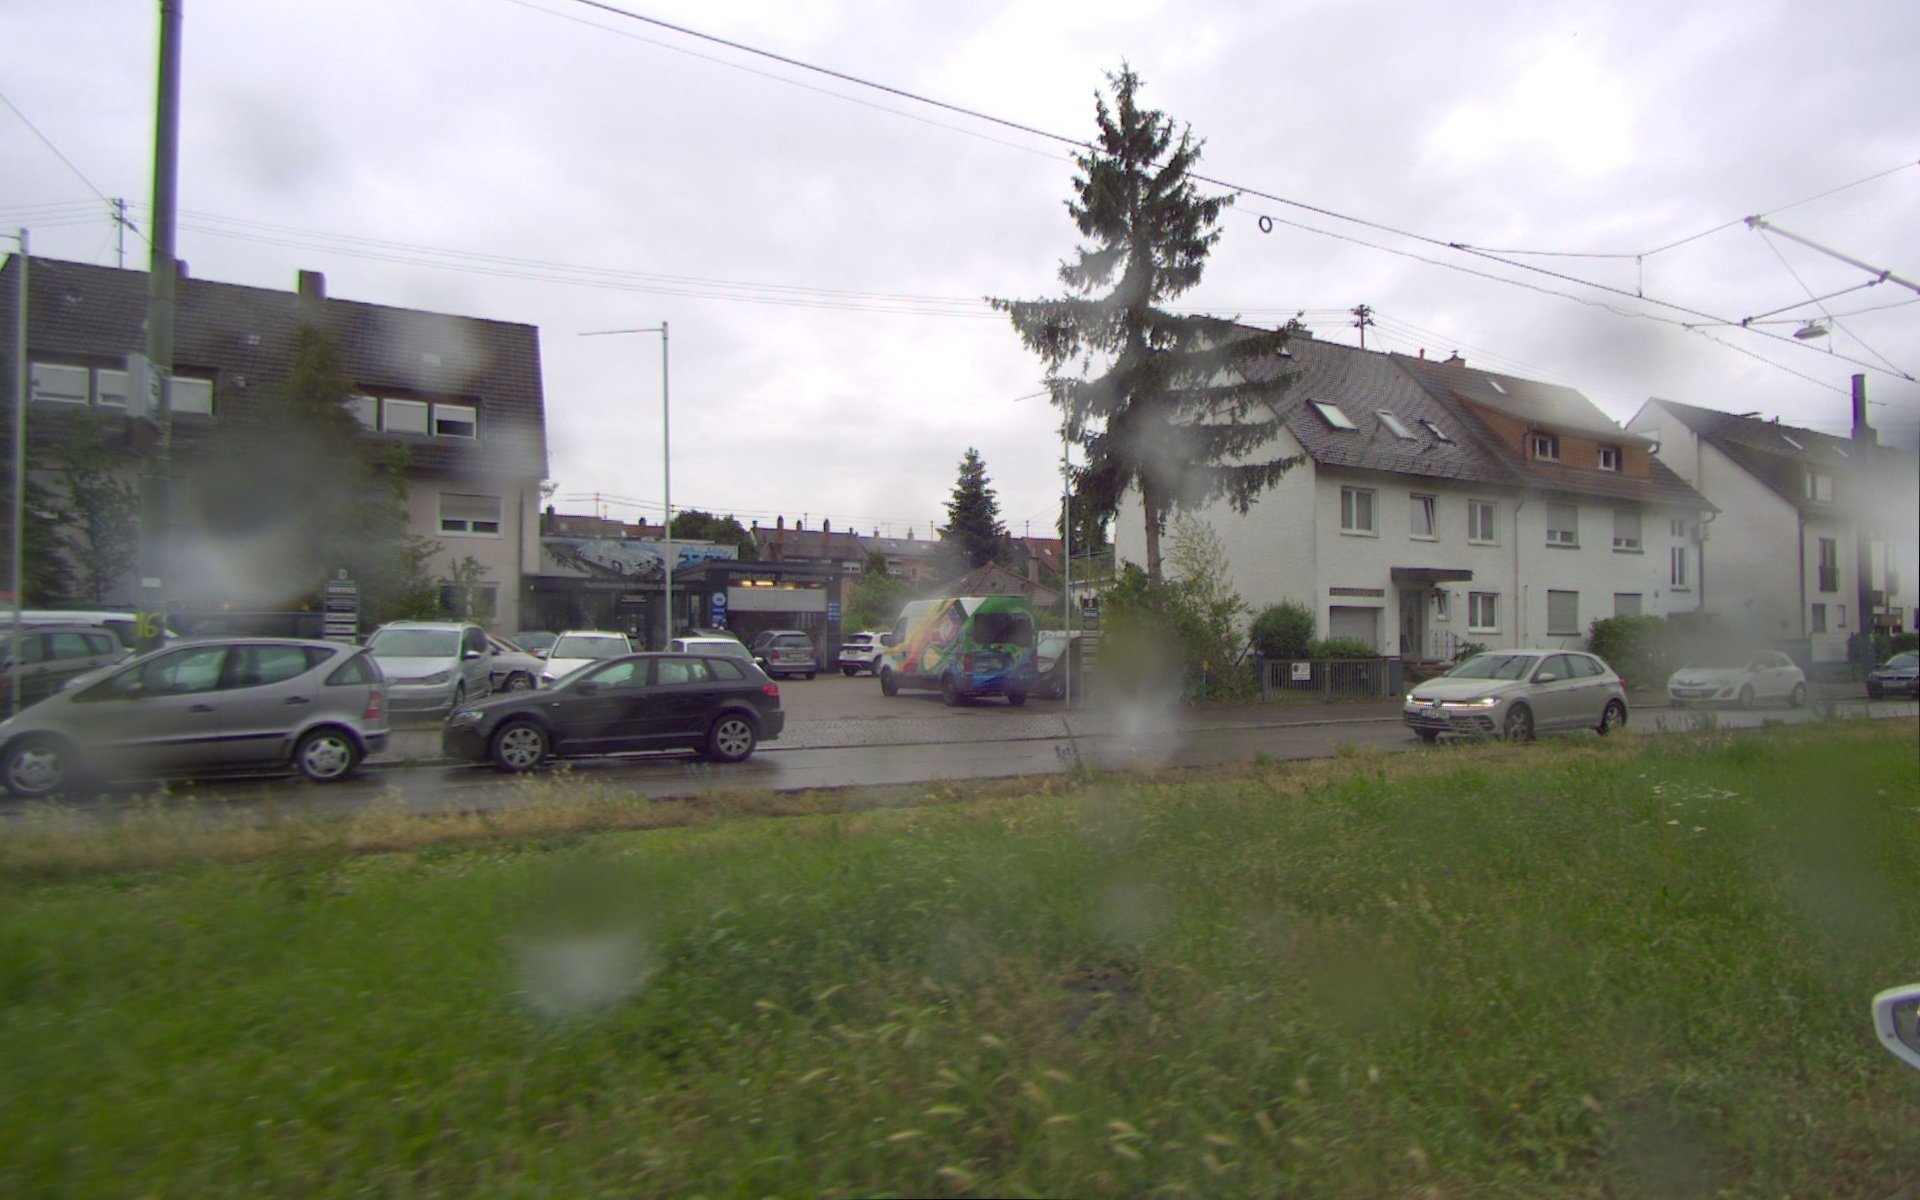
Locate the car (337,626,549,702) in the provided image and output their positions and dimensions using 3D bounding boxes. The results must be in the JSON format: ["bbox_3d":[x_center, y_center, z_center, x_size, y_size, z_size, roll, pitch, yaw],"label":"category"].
[{"bbox_3d":[-12.379,1.521,24.348,4.387,1.709,1.988,1,-3,-25],"label":"car"}]

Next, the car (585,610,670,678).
[{"bbox_3d":[-10.522,1.349,31.639,1.975,1.803,3.582,4,1,-27],"label":"car"}]

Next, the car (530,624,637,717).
[{"bbox_3d":[-7.335,1.319,19.379,1.699,1.593,3.597,3,-3,-23],"label":"car"}]

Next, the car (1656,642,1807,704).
[{"bbox_3d":[19.833,1.882,25.812,3.894,1.442,1.595,4,-3,-27],"label":"car"}]

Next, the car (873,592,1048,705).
[{"bbox_3d":[-0.126,1.187,24.559,2.125,2.437,5.114,3,-3,-27],"label":"car"}]

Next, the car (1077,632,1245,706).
[{"bbox_3d":[5.208,1.729,25.965,3.845,1.586,1.986,-2,0,-28],"label":"car"}]

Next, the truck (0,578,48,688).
[{"bbox_3d":[-23.105,0.698,20.872,5.990,2.301,1.998,0,-3,-8],"label":"truck"}]

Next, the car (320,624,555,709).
[{"bbox_3d":[-11.273,1.427,21.995,4.387,1.709,1.750,1,-3,-25],"label":"car"}]

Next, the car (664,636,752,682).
[{"bbox_3d":[-8.269,1.899,32.756,1.739,1.349,3.969,4,-4,-30],"label":"car"}]

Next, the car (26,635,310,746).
[{"bbox_3d":[-12.529,1.399,16.285,1.801,1.524,4.052,2,-3,-10],"label":"car"}]

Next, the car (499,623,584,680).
[{"bbox_3d":[-12.801,1.551,30.604,1.976,1.585,3.866,3,-3,-29],"label":"car"}]

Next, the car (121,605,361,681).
[{"bbox_3d":[-17.291,1.050,24.471,4.387,1.709,1.988,1,-3,-25],"label":"car"}]

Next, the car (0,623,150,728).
[{"bbox_3d":[-14.878,1.107,15.206,1.797,1.524,4.060,2,-3,1],"label":"car"}]

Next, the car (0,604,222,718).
[{"bbox_3d":[-17.025,1.154,19.163,4.387,2.040,1.988,1,-3,-25],"label":"car"}]

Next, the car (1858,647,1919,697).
[{"bbox_3d":[29.677,2.242,30.850,4.607,1.442,1.595,4,-3,-27],"label":"car"}]

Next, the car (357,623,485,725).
[{"bbox_3d":[-9.520,1.241,17.996,1.783,1.599,3.848,0,-2,-25],"label":"car"}]

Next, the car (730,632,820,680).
[{"bbox_3d":[-6.383,1.886,34.291,1.766,1.517,3.969,4,-4,-30],"label":"car"}]

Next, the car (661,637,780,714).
[{"bbox_3d":[-5.009,1.509,20.663,1.699,1.414,3.820,3,-3,-24],"label":"car"}]

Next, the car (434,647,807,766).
[{"bbox_3d":[-4.360,1.371,13.169,4.330,1.356,1.713,4,-3,-25],"label":"car"}]

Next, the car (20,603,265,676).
[{"bbox_3d":[-20.391,0.998,25.338,4.387,1.709,1.988,1,-3,-25],"label":"car"}]

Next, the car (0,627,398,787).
[{"bbox_3d":[-8.316,1.135,11.070,3.600,1.524,1.710,4,-3,-29],"label":"car"}]

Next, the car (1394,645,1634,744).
[{"bbox_3d":[9.027,1.522,16.322,3.771,1.442,1.595,4,-3,-27],"label":"car"}]

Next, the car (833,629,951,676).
[{"bbox_3d":[-2.433,1.928,36.819,1.768,1.601,4.425,-3,-4,41],"label":"car"}]
